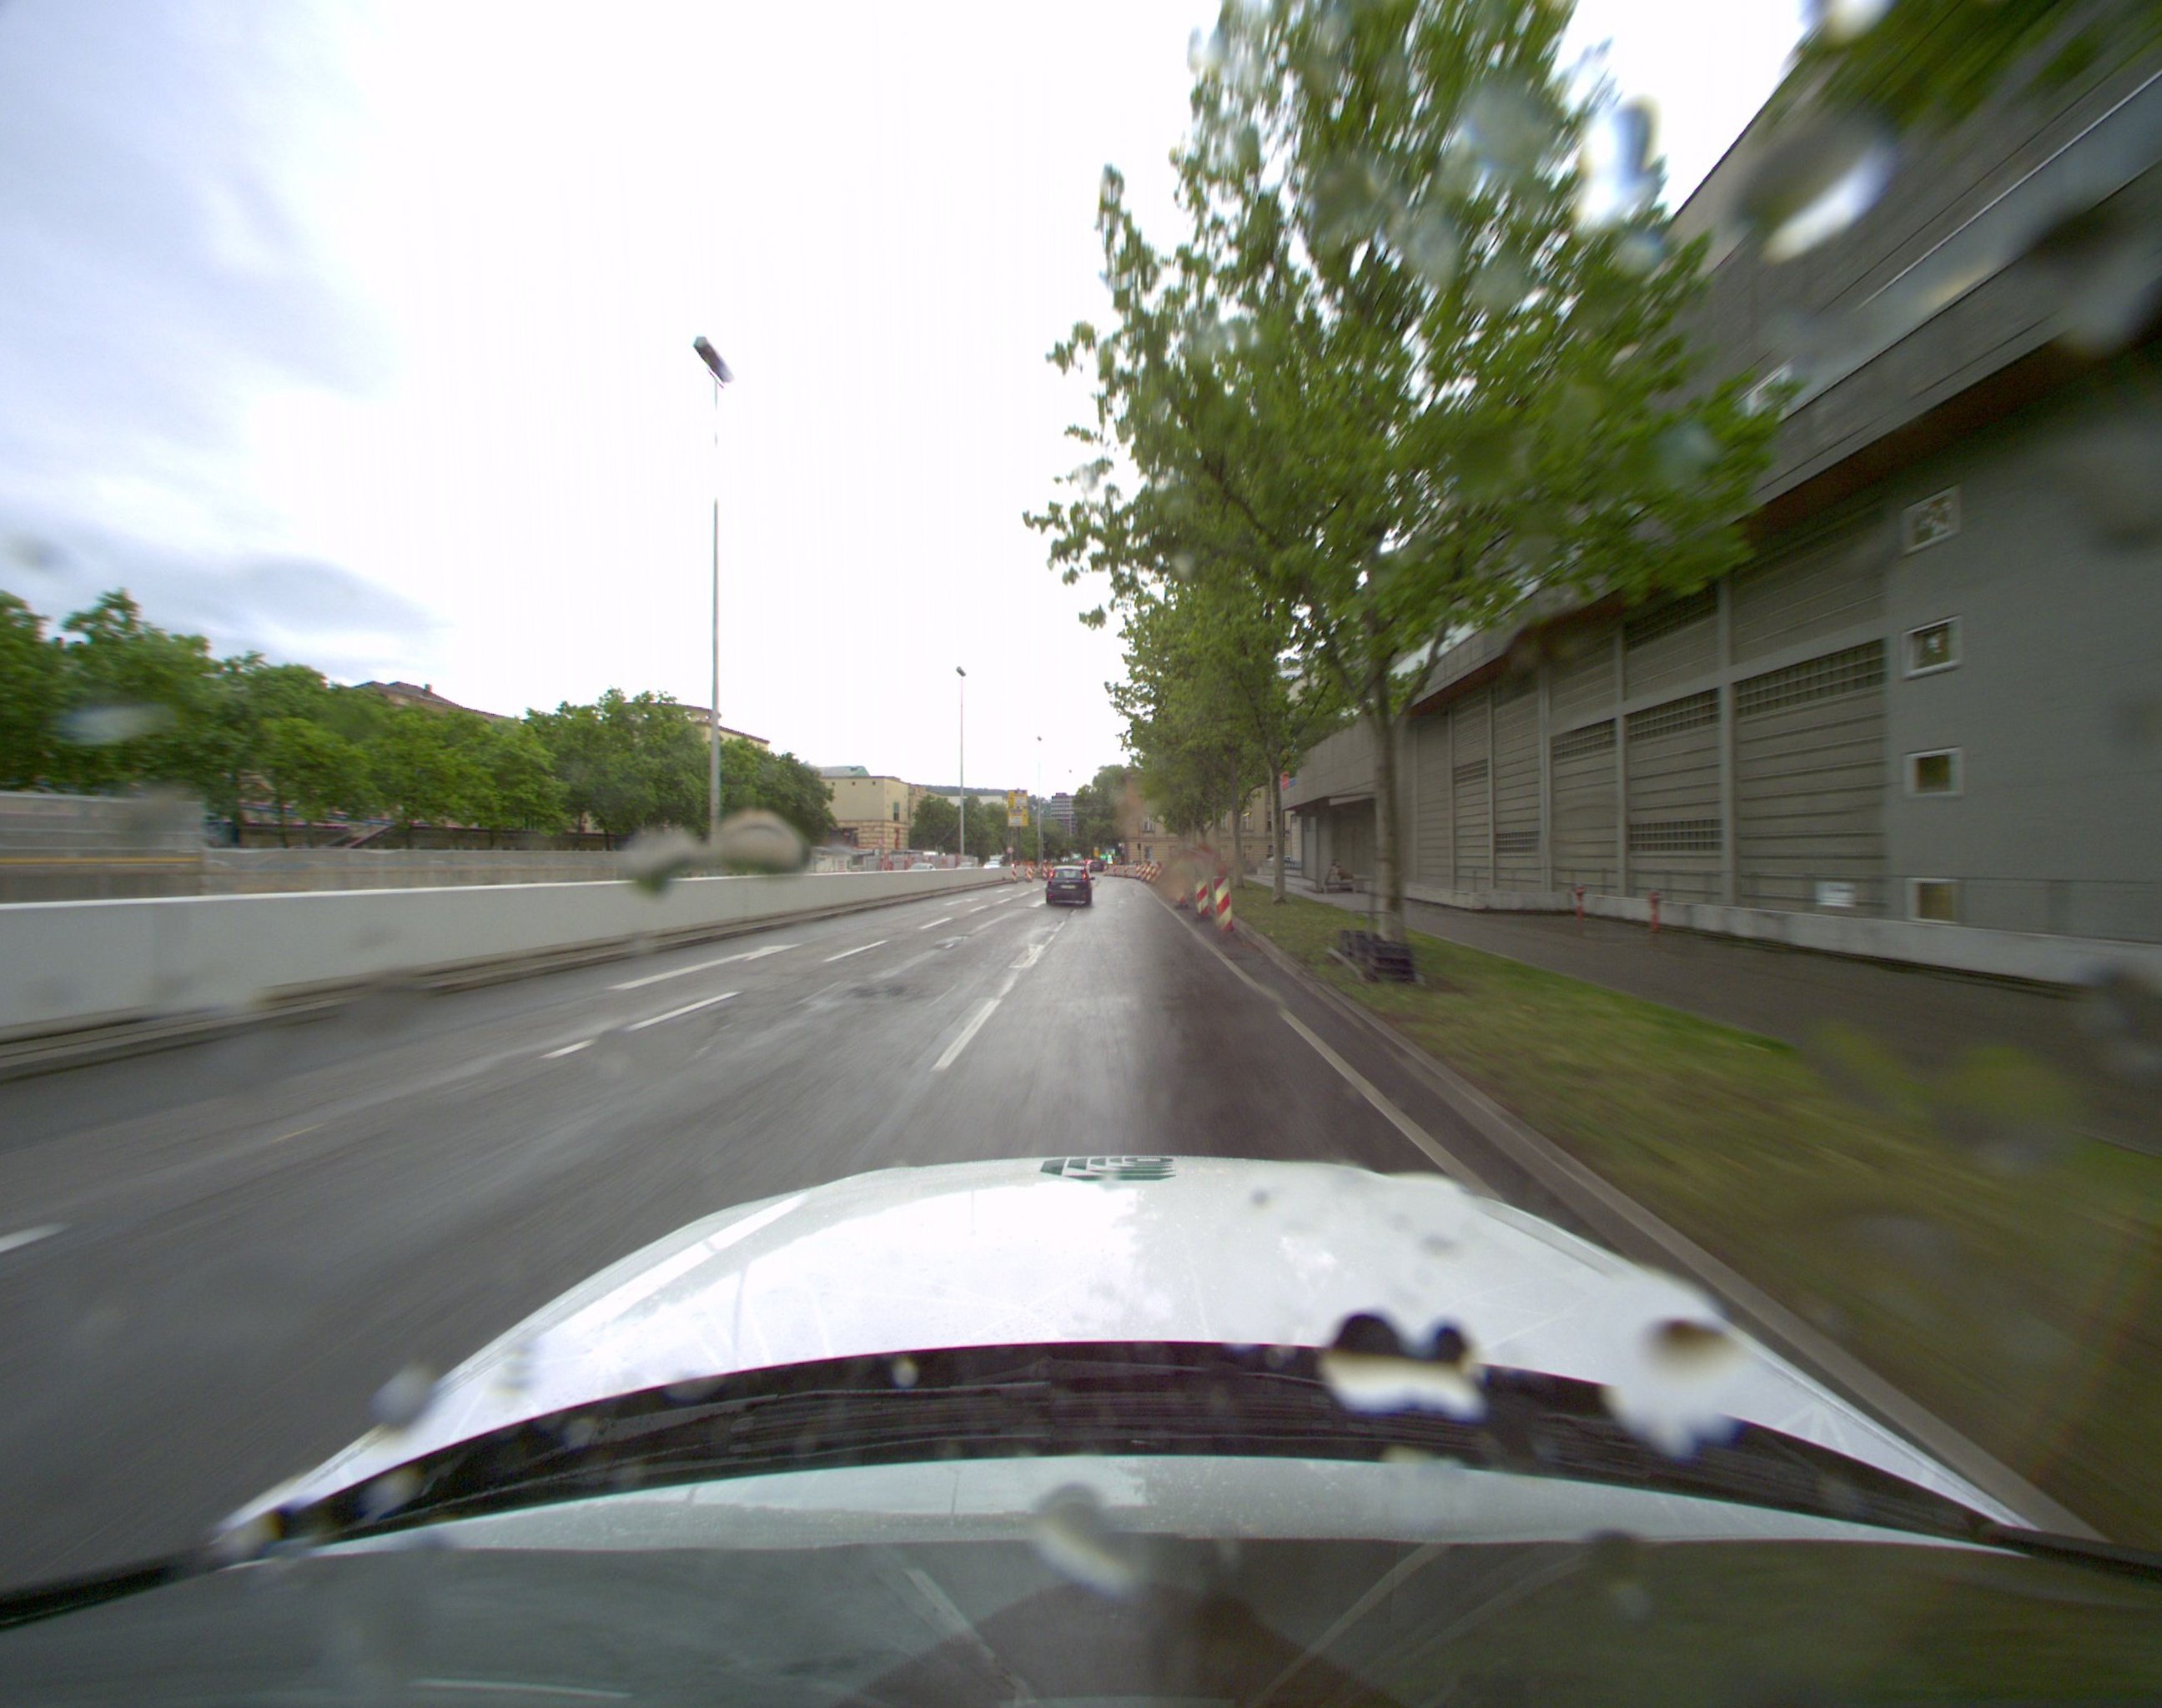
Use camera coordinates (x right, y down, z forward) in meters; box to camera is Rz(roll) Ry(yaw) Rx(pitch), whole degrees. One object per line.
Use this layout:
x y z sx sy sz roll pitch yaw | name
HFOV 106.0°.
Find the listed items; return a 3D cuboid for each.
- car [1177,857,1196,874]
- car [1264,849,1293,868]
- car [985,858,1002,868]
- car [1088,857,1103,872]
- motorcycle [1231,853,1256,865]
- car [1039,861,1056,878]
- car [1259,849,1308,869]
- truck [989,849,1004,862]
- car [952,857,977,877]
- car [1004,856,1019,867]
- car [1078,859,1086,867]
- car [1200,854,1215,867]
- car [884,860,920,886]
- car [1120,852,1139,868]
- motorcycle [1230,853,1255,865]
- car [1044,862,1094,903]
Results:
11.533 1.207 88.691 1.983 1.708 4.008 1 1 7 | car
19.685 0.509 81.352 1.985 1.760 5.100 -1 -2 3 | car
-11.173 1.115 104.094 1.620 1.195 3.407 1 0 2 | car
1.995 1.408 113.135 1.985 2.013 4.003 1 1 2 | car
21.173 0.651 106.232 3.146 1.543 0.891 2 -2 5 | motorcycle
-2.828 1.331 69.207 1.382 1.386 3.065 -1 -1 -2 | car
18.233 0.463 73.451 3.970 1.560 1.934 -2 -3 3 | car
-15.574 0.289 150.498 2.407 2.339 5.438 2 -2 -2 | truck
-12.566 1.377 87.936 1.986 2.013 4.002 1 0 2 | car
-10.212 1.101 119.364 1.662 1.522 4.001 2 -1 1 | car
0.196 2.267 207.417 1.988 2.014 3.996 2 -2 -2 | car
17.007 0.917 109.562 1.983 1.709 4.008 1 -1 7 | car
-14.980 1.570 68.485 1.986 2.014 4.002 1 -1 2 | car
5.283 0.619 89.527 1.985 1.708 4.003 1 1 2 | car
21.297 0.644 107.256 3.144 1.543 0.891 2 -2 7 | motorcycle
-0.394 1.019 30.723 1.663 1.427 3.760 0 -1 3 | car
